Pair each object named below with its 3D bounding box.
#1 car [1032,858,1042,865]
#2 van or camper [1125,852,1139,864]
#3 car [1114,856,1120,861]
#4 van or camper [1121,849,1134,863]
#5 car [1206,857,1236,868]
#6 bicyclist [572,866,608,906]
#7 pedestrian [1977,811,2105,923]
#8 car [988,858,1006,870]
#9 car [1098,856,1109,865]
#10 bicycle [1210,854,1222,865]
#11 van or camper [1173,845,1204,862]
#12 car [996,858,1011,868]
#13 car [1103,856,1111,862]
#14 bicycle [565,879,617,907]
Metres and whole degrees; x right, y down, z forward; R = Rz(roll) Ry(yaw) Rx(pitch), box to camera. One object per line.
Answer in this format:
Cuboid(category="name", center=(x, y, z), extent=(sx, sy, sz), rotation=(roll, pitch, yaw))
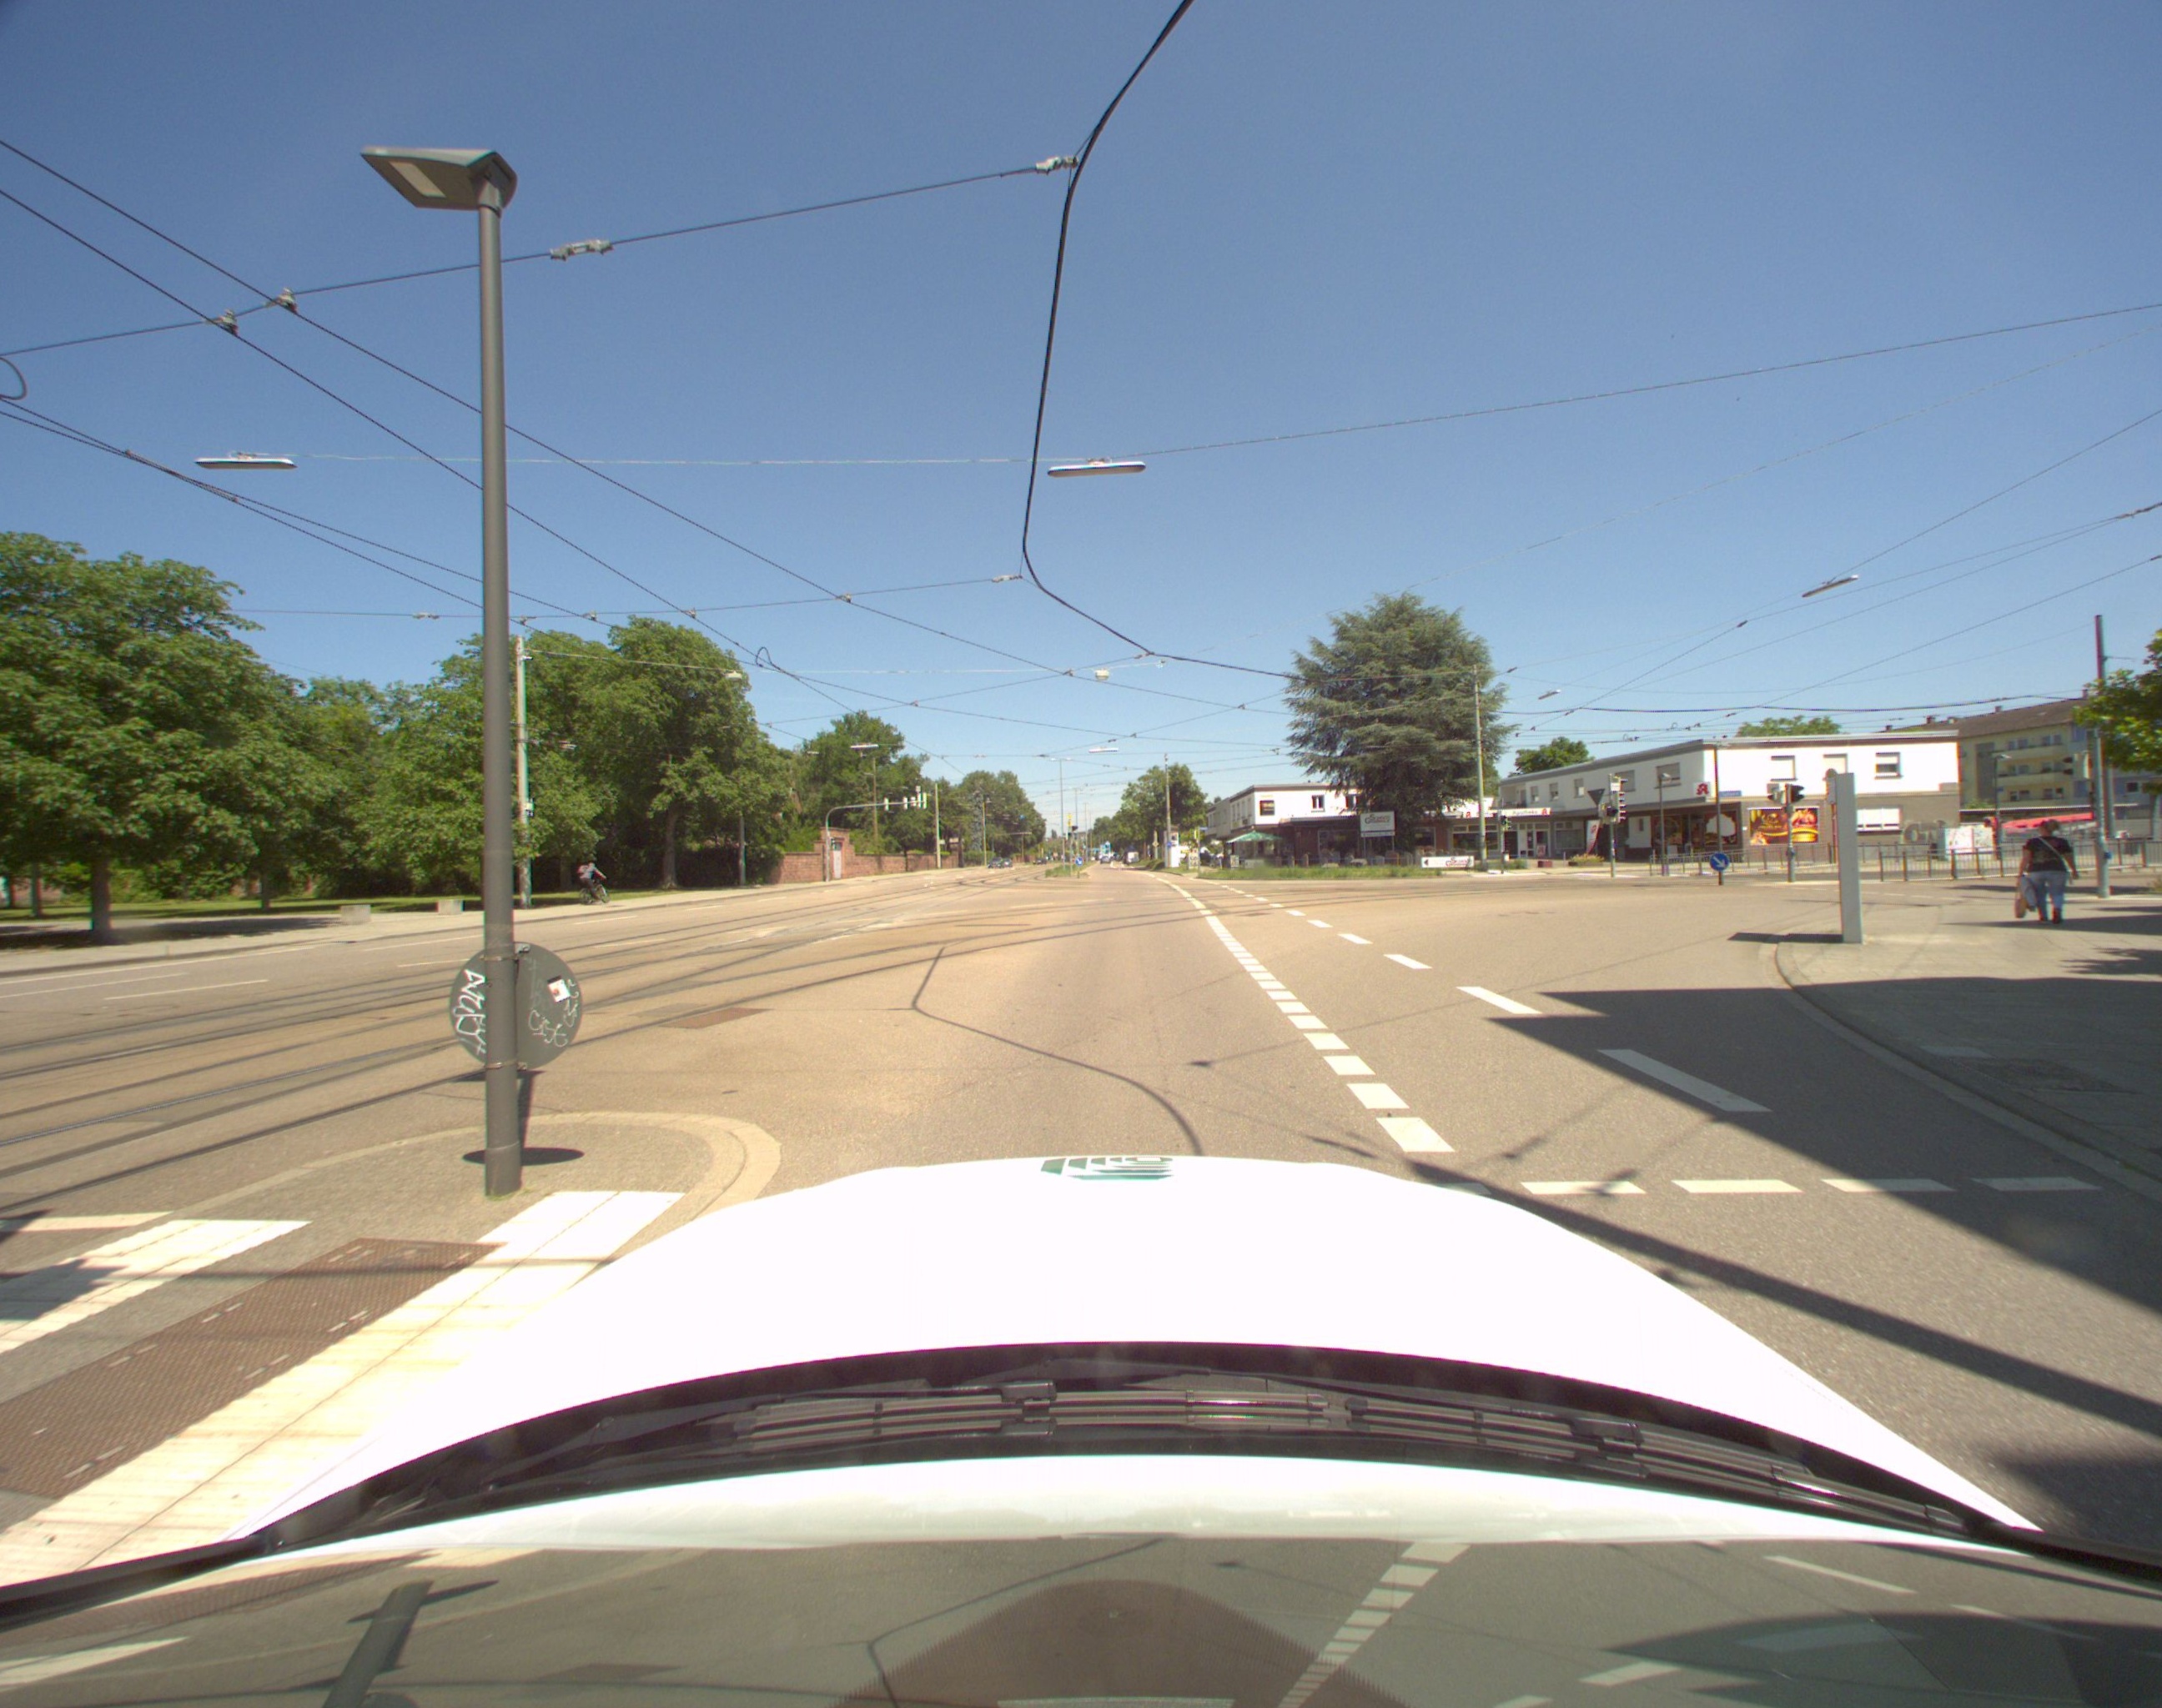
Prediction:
Cuboid(category="car", center=(-8.537, 1.402, 158.860), extent=(1.635, 1.399, 4.117), rotation=(0, 0, 1))
Cuboid(category="van or camper", center=(7.656, 0.631, 122.104), extent=(1.914, 1.772, 4.003), rotation=(-2, 0, 3))
Cuboid(category="car", center=(11.418, 1.408, 257.346), extent=(1.519, 1.296, 3.491), rotation=(-2, 0, 0))
Cuboid(category="van or camper", center=(8.306, 0.386, 144.587), extent=(1.987, 2.464, 3.999), rotation=(-2, 0, 0))
Cuboid(category="car", center=(18.150, 1.087, 105.896), extent=(3.600, 1.351, 1.488), rotation=(-2, 0, -5))
Cuboid(category="bicyclist", center=(-19.520, 1.276, 32.390), extent=(0.847, 1.531, 0.846), rotation=(-2, -1, 3))
Cuboid(category="pedestrian", center=(14.450, 0.193, 12.292), extent=(0.820, 1.583, 0.829), rotation=(-5, -1, 13))
Cuboid(category="car", center=(-11.987, 1.402, 116.604), extent=(1.812, 1.603, 4.524), rotation=(-2, 0, 3))
Cuboid(category="car", center=(3.907, 1.120, 142.654), extent=(1.632, 1.351, 3.841), rotation=(-5, 0, 0))
Cuboid(category="bicycle", center=(12.626, 0.533, 76.079), extent=(1.027, 1.014, 2.644), rotation=(-2, 0, 9))
Cuboid(category="van or camper", center=(17.795, -0.022, 134.964), extent=(4.741, 2.671, 2.136), rotation=(-2, 0, 0))
Cuboid(category="car", center=(-12.117, 1.367, 127.453), extent=(1.633, 1.421, 4.173), rotation=(-2, 0, 4))
Cuboid(category="car", center=(5.905, 1.119, 186.705), extent=(1.665, 1.435, 3.473), rotation=(-2, 0, 0))
Cuboid(category="bicycle", center=(-19.504, 1.536, 32.471), extent=(0.712, 1.041, 2.105), rotation=(-2, 0, 3))
